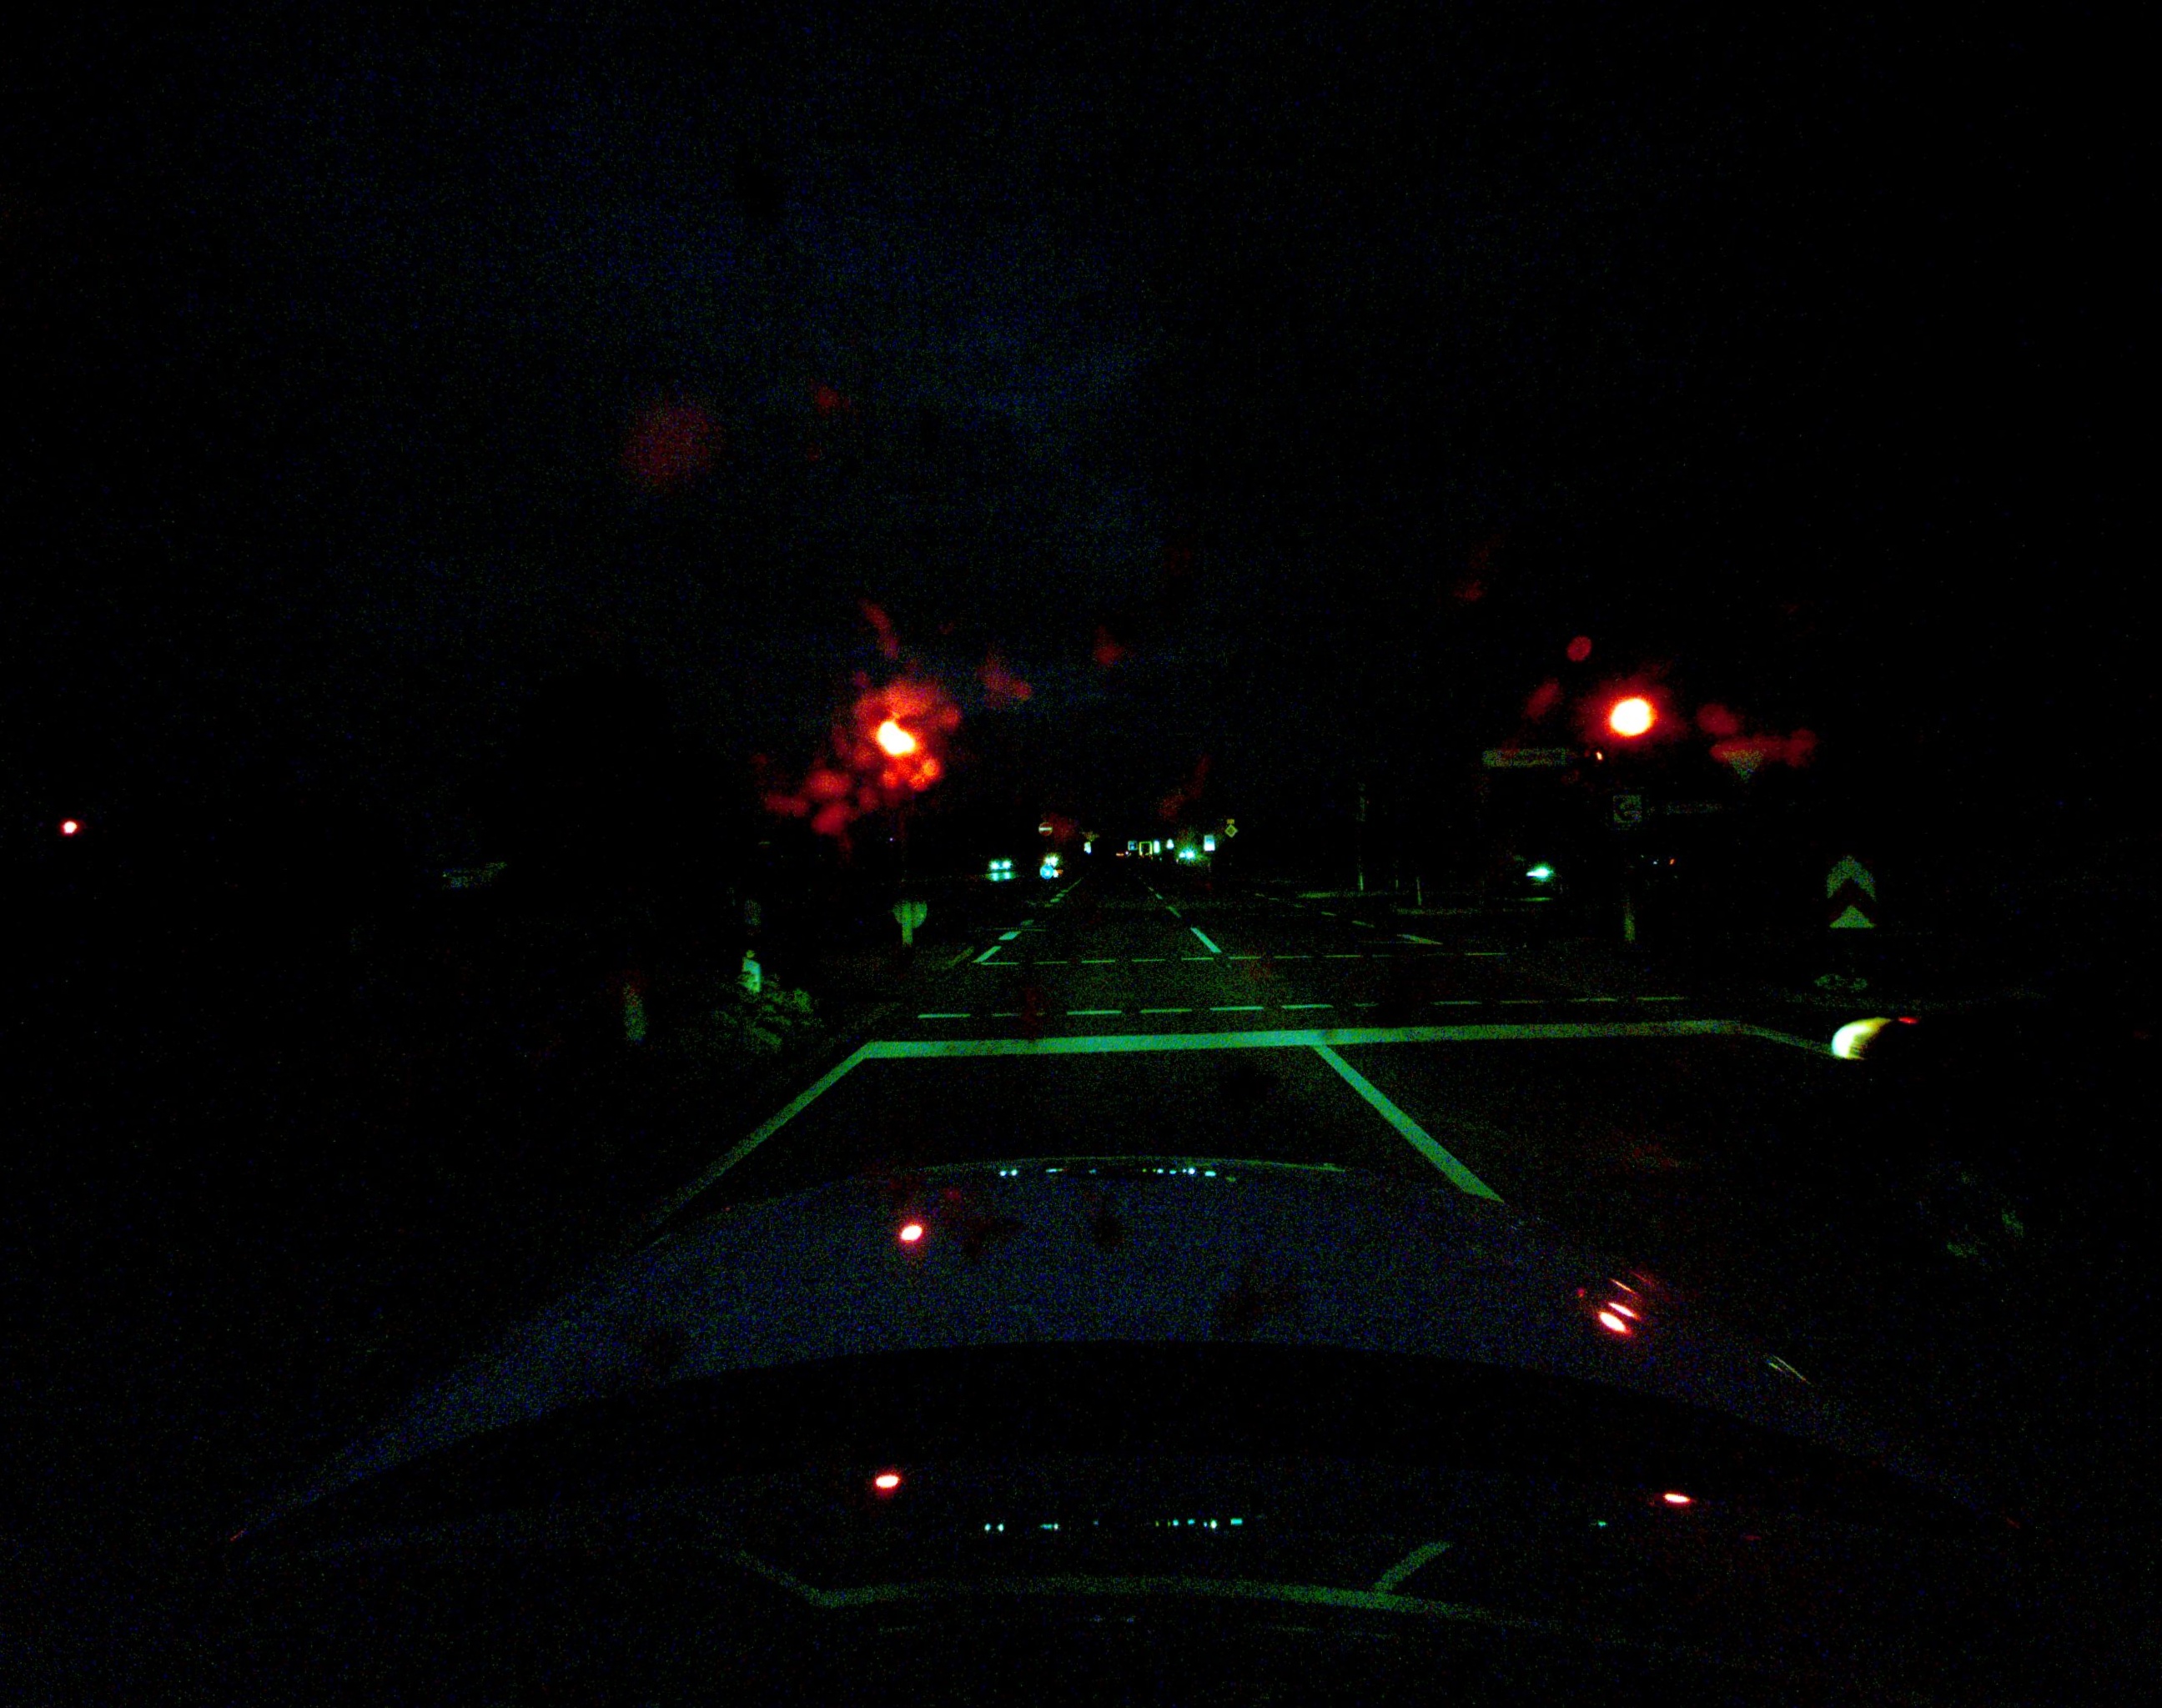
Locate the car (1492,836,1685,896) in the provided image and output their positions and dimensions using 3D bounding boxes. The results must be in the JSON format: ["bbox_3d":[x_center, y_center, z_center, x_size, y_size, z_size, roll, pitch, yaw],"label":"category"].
[{"bbox_3d":[15.407,0.348,24.922,4.583,1.520,2.001,-3,0,2],"label":"car"}]

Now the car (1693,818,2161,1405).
[{"bbox_3d":[3.598,0.652,1.733,1.663,1.520,4.109,-1,0,3],"label":"car"}]

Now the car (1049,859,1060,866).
[{"bbox_3d":[-5.589,1.702,171.578,1.986,1.387,4.002,-2,0,2],"label":"car"}]

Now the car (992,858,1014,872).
[{"bbox_3d":[-8.977,1.242,93.867,1.986,1.519,4.299,-2,0,2],"label":"car"}]
